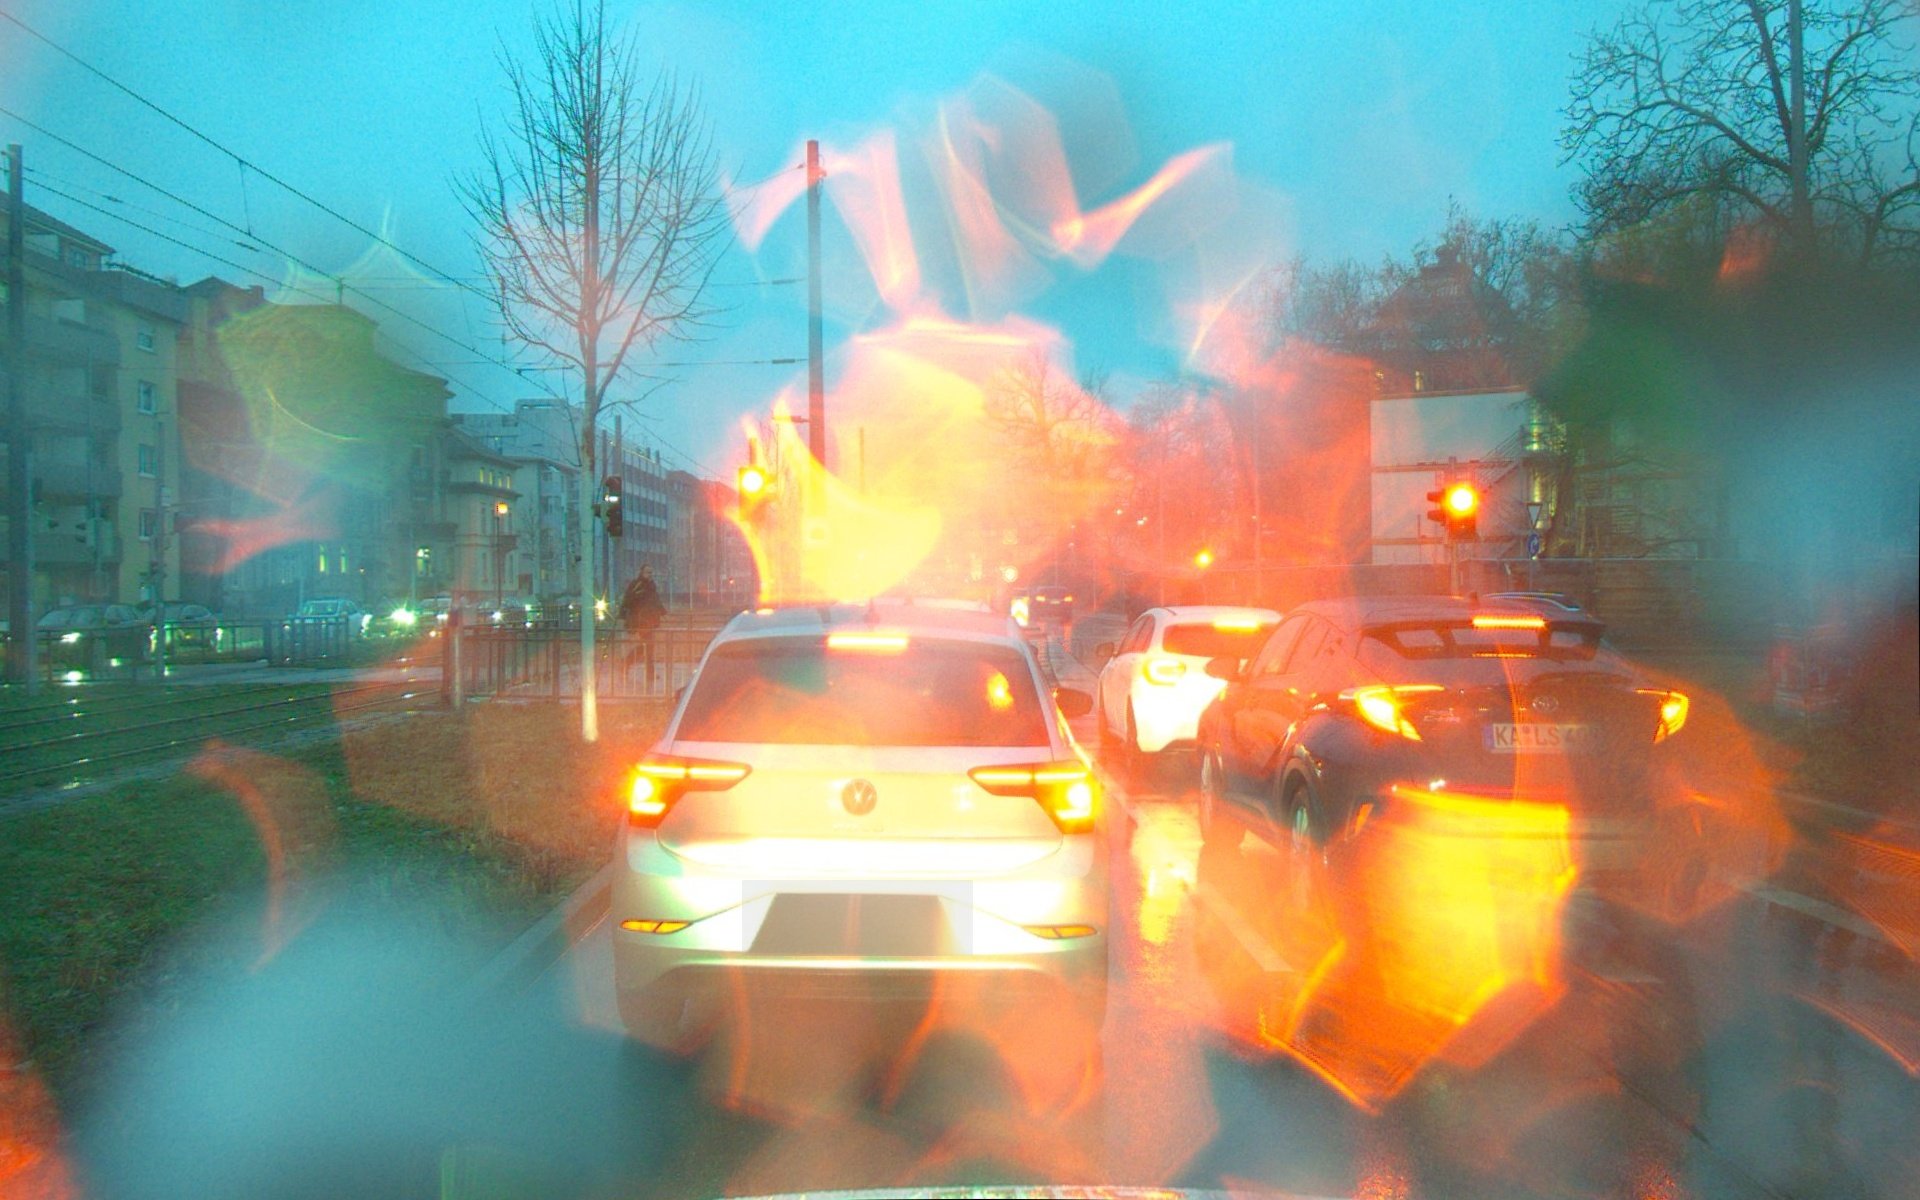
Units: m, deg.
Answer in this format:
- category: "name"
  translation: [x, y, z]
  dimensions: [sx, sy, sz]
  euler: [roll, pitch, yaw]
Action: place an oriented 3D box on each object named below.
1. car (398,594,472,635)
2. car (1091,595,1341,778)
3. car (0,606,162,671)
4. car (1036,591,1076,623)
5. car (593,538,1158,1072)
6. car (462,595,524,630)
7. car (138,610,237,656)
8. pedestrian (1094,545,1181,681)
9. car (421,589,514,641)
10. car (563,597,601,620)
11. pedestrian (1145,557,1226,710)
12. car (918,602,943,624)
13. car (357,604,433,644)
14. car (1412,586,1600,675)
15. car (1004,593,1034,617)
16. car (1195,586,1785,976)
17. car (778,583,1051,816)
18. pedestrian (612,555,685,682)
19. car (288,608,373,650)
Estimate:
- category: "car"
  translation: [-21.598, 0.573, 68.197]
  dimensions: [1.829, 1.604, 3.999]
  euler: [-1, 0, -1]
- category: "car"
  translation: [2.245, 0.704, 15.379]
  dimensions: [1.710, 1.458, 3.731]
  euler: [1, 0, 0]
- category: "car"
  translation: [-20.386, 0.853, 38.190]
  dimensions: [1.821, 1.355, 4.314]
  euler: [1, 0, -1]
- category: "car"
  translation: [4.630, 0.328, 80.240]
  dimensions: [1.702, 1.444, 3.703]
  euler: [-1, 1, -1]
- category: "car"
  translation: [-0.377, 0.586, 6.893]
  dimensions: [1.659, 1.560, 3.997]
  euler: [1, 0, -4]
- category: "car"
  translation: [-22.777, 0.594, 80.778]
  dimensions: [1.910, 1.630, 4.000]
  euler: [1, 0, 0]
- category: "car"
  translation: [-23.678, 0.981, 50.800]
  dimensions: [1.658, 1.300, 3.532]
  euler: [-1, 0, -6]
- category: "pedestrian"
  translation: [2.726, 0.189, 25.488]
  dimensions: [0.946, 2.049, 1.000]
  euler: [-1, 0, -23]
- category: "car"
  translation: [-16.316, 0.492, 54.937]
  dimensions: [1.953, 1.630, 3.999]
  euler: [1, 0, -2]
- category: "car"
  translation: [-28.686, 0.643, 125.573]
  dimensions: [1.910, 1.630, 4.000]
  euler: [1, 0, 0]
- category: "pedestrian"
  translation: [3.097, 0.452, 22.834]
  dimensions: [0.939, 2.049, 1.007]
  euler: [-1, 0, -1]
- category: "car"
  translation: [-2.055, 0.868, 115.431]
  dimensions: [1.702, 1.444, 4.393]
  euler: [-1, 1, -1]
- category: "car"
  translation: [-24.652, 1.031, 72.284]
  dimensions: [1.910, 1.630, 4.000]
  euler: [1, 0, 0]
- category: "car"
  translation: [13.088, 0.713, 39.869]
  dimensions: [4.181, 1.977, 2.001]
  euler: [1, 0, 16]
- category: "car"
  translation: [3.732, 0.313, 104.428]
  dimensions: [1.702, 1.444, 3.703]
  euler: [-1, 1, -1]
- category: "car"
  translation: [2.395, 0.715, 8.553]
  dimensions: [1.763, 1.537, 3.895]
  euler: [-1, 0, -1]
- category: "car"
  translation: [-0.318, 0.626, 13.082]
  dimensions: [1.762, 1.492, 4.585]
  euler: [-1, 1, -1]
- category: "pedestrian"
  translation: [-5.143, 0.289, 27.249]
  dimensions: [0.991, 2.049, 0.955]
  euler: [-1, 0, -23]
- category: "car"
  translation: [-20.796, 0.933, 54.797]
  dimensions: [1.658, 1.300, 4.142]
  euler: [-1, 0, -7]
